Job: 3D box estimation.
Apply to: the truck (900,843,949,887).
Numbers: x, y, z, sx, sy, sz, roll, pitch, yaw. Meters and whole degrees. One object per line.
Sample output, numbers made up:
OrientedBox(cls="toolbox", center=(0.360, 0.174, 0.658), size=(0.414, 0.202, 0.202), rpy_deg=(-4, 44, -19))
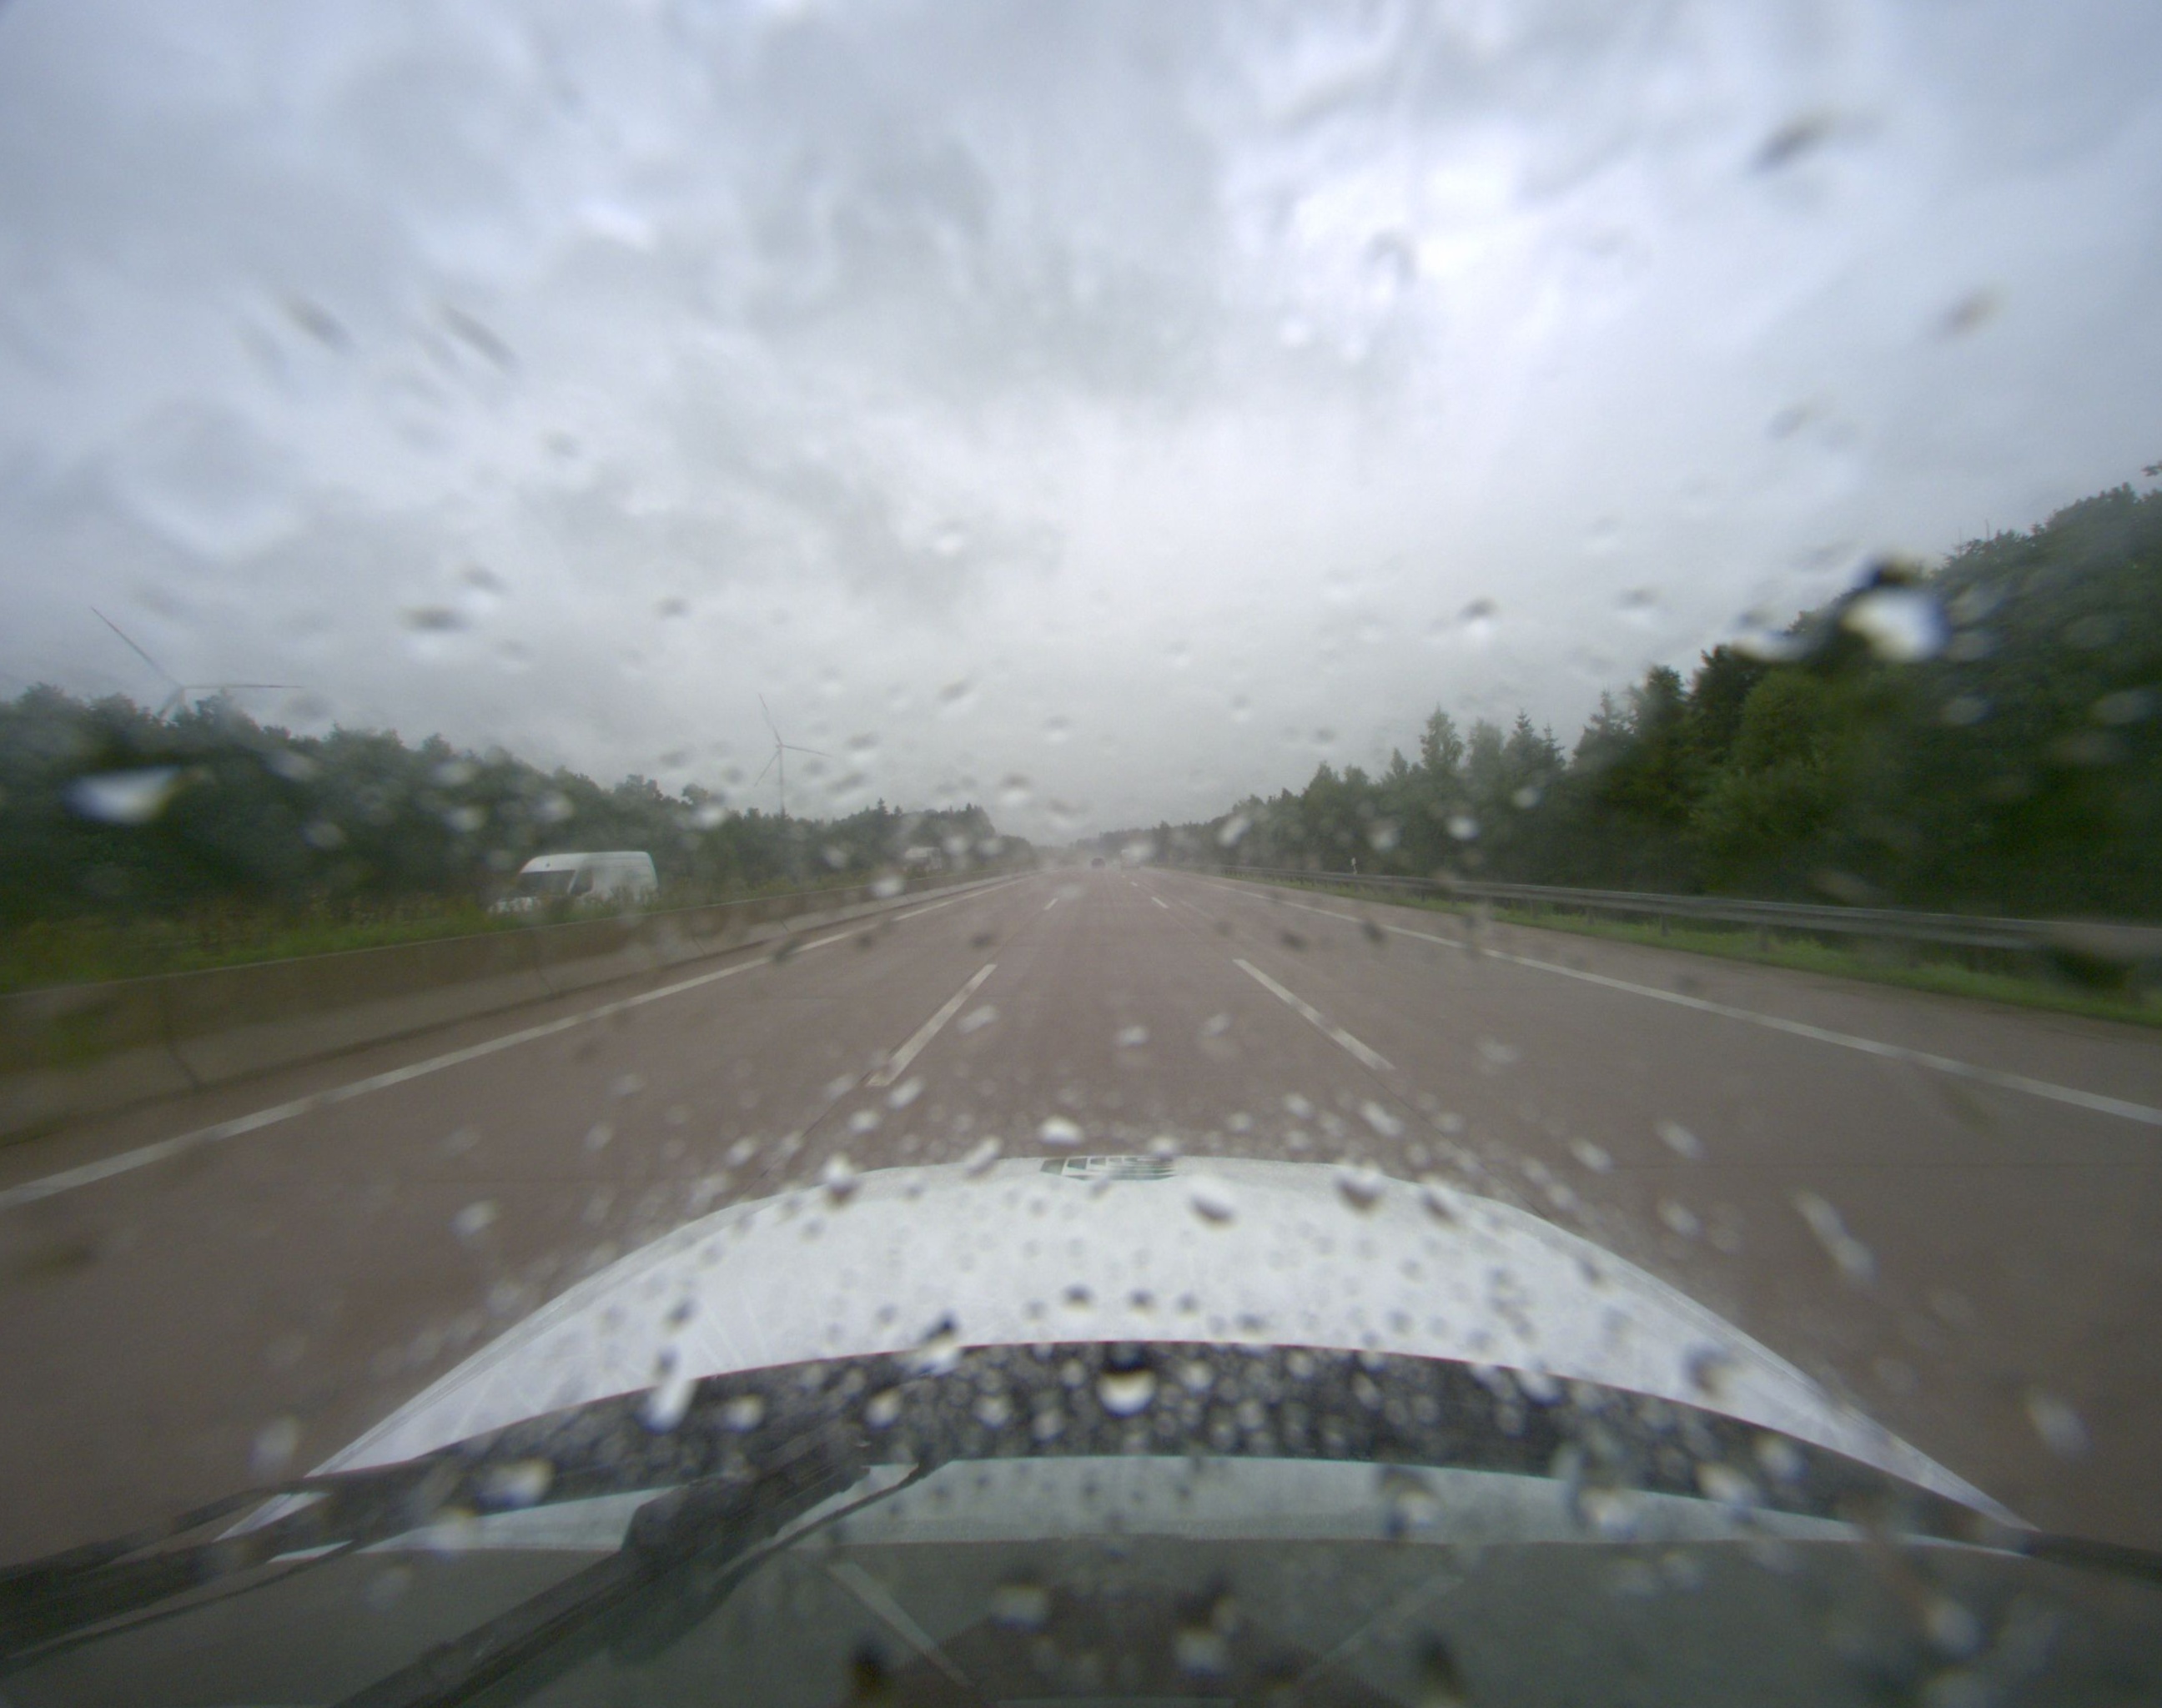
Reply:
OrientedBox(cls="truck", center=(-16.868, 1.126, 88.641), size=(3.133, 4.472, 9.562), rpy_deg=(0, 0, 2))

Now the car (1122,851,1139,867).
OrientedBox(cls="car", center=(6.160, 0.625, 101.907), size=(2.050, 2.000, 4.100), rpy_deg=(-1, 0, 2))

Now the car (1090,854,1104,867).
OrientedBox(cls="car", center=(2.246, 0.847, 113.777), size=(1.930, 1.729, 4.132), rpy_deg=(-1, 0, 2))

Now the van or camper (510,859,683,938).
OrientedBox(cls="van or camper", center=(-15.274, 1.288, 26.182), size=(2.123, 2.205, 5.720), rpy_deg=(-1, 0, -1))
